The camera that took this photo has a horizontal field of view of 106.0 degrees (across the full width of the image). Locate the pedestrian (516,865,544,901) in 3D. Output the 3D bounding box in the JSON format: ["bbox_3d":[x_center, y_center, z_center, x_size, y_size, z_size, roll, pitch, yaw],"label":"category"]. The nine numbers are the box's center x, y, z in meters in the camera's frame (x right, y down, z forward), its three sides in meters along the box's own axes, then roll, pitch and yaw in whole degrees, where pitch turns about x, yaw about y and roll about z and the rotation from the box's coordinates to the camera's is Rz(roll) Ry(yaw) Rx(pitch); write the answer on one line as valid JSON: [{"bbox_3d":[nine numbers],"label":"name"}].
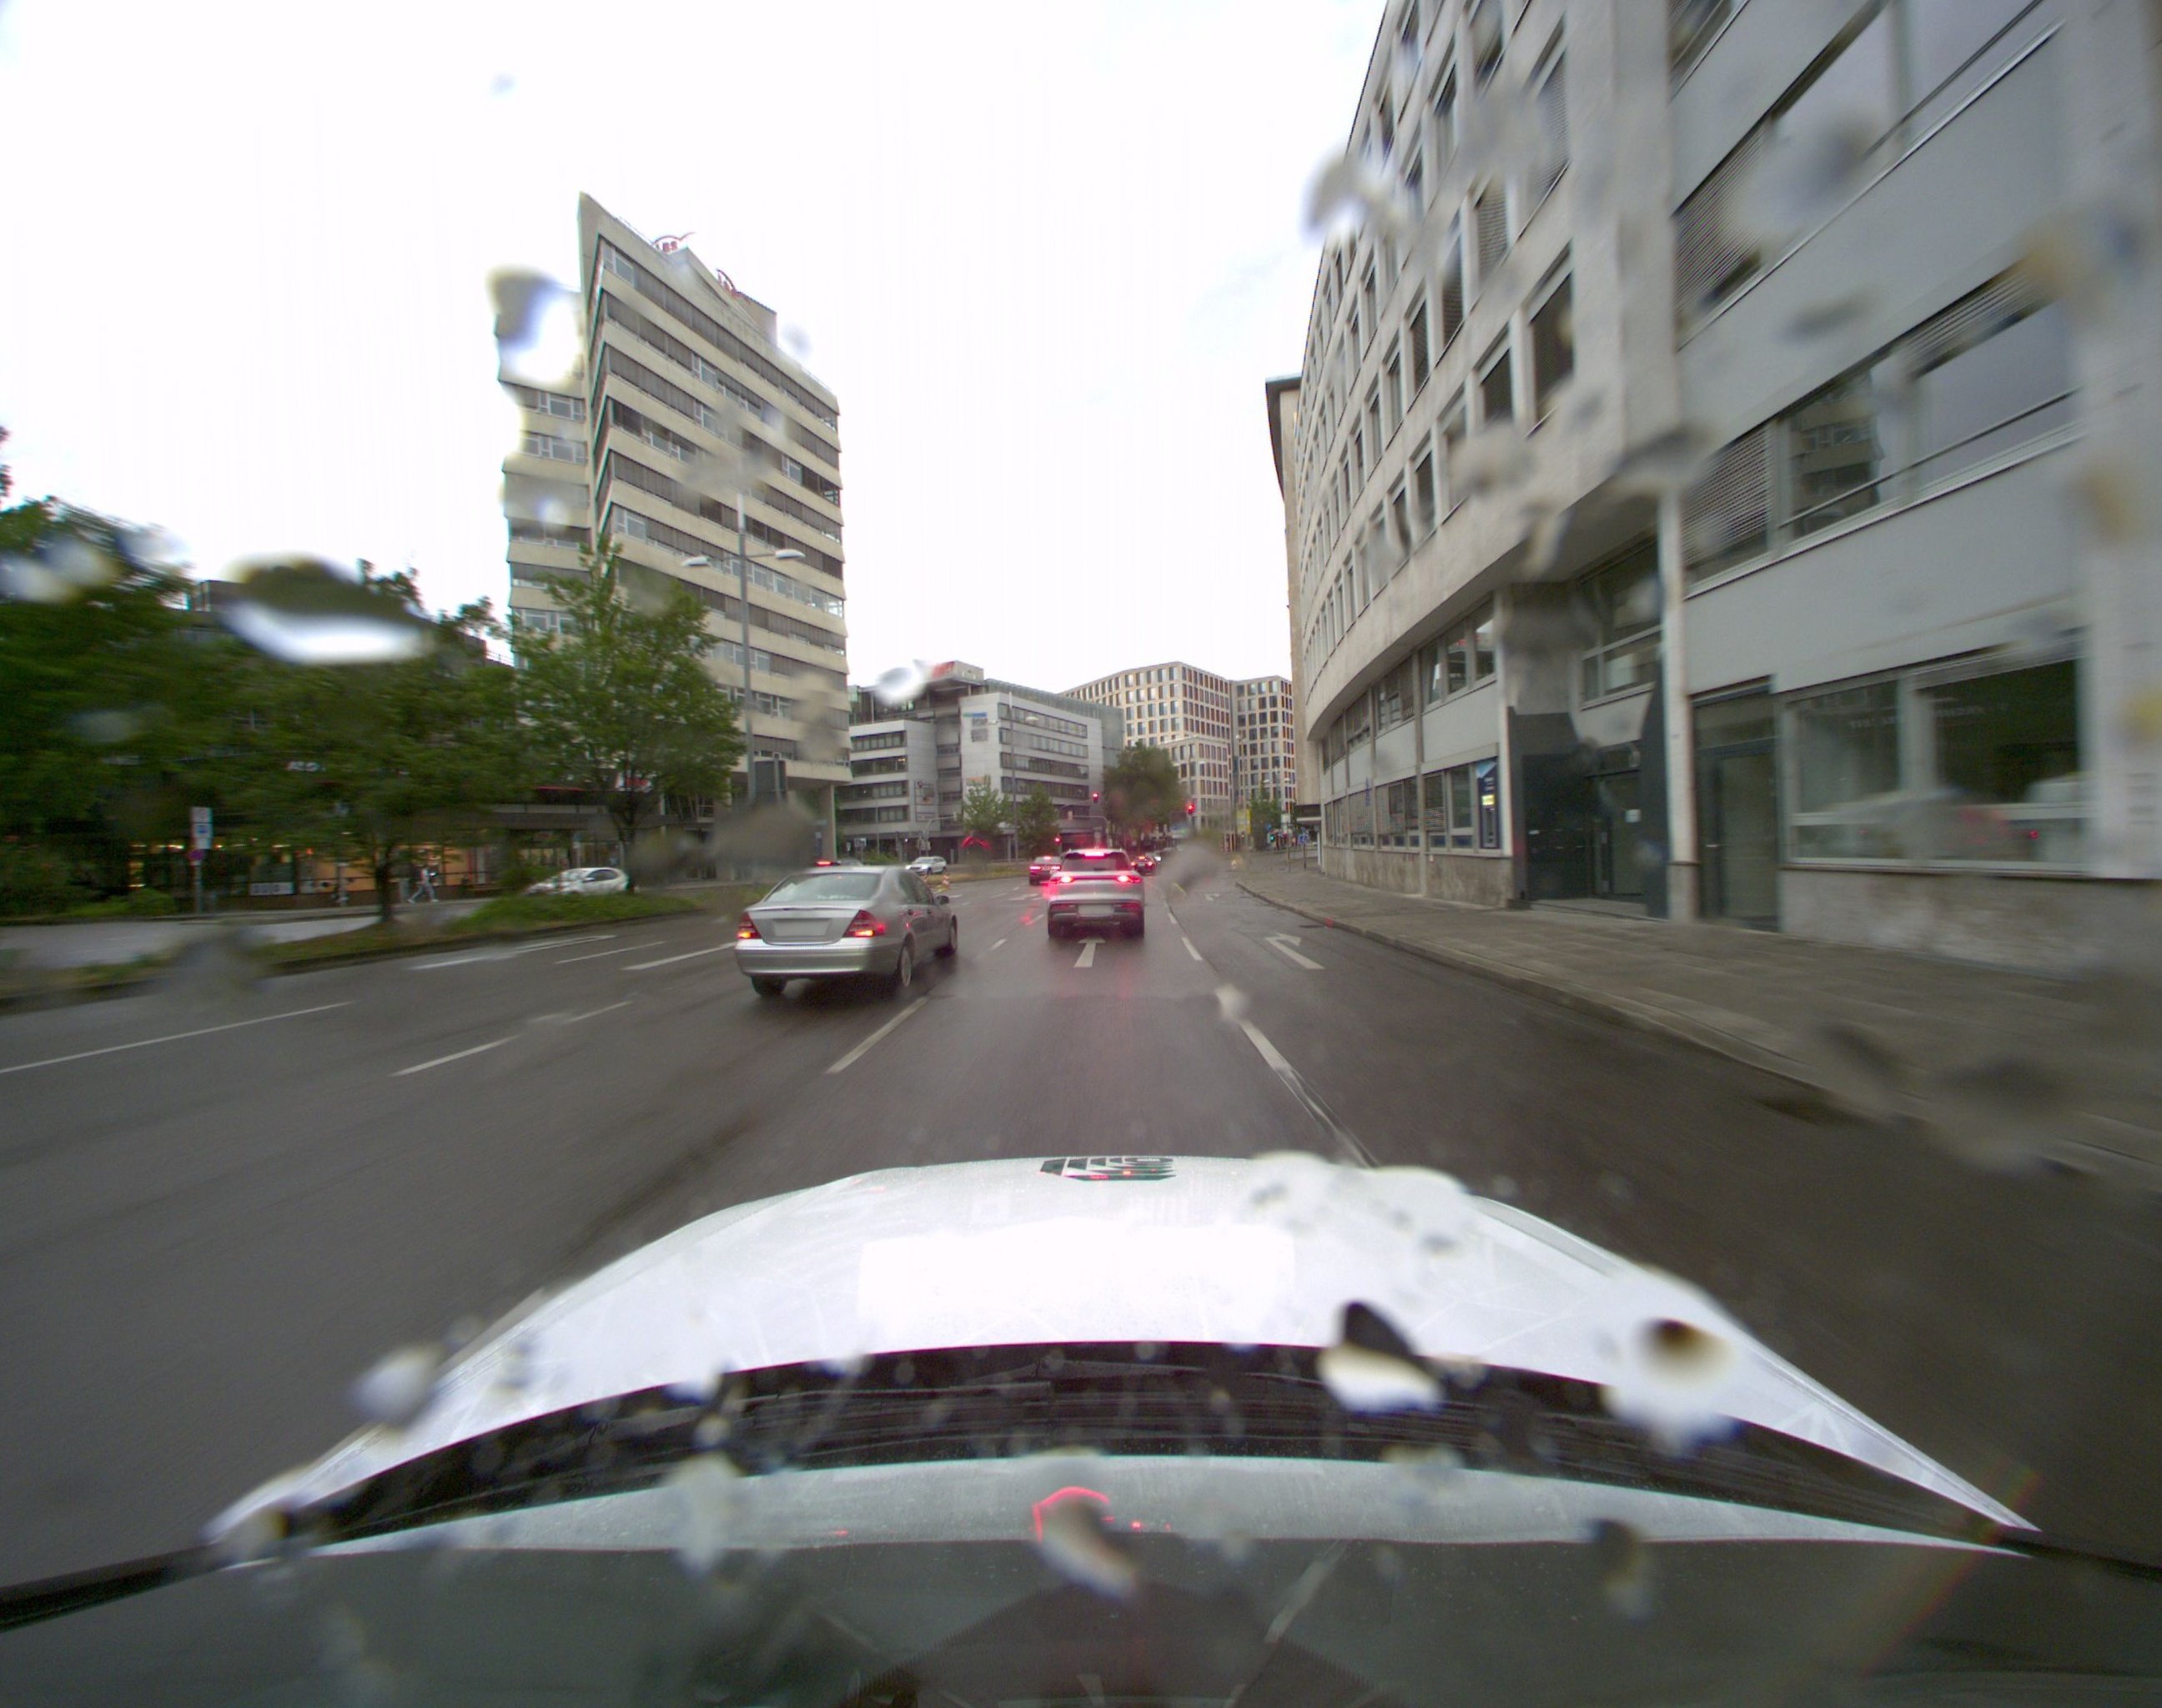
[{"bbox_3d":[-28.284,1.489,41.843,0.721,1.832,0.929,-2,-1,20],"label":"pedestrian"}]

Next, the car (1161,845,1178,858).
[{"bbox_3d":[14.977,-0.455,137.531,1.722,2.161,4.518,0,0,23],"label":"car"}]

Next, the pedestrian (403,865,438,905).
[{"bbox_3d":[-30.806,1.446,37.988,0.810,1.832,0.929,-2,0,21],"label":"pedestrian"}]

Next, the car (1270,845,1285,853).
[{"bbox_3d":[44.356,-1.115,183.342,1.974,1.705,4.337,-1,2,32],"label":"car"}]

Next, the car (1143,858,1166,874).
[{"bbox_3d":[8.572,1.337,95.545,1.990,1.750,4.524,-1,0,-4],"label":"car"}]

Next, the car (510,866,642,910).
[{"bbox_3d":[-18.157,1.184,29.523,1.671,1.431,4.097,-1,0,12],"label":"car"}]

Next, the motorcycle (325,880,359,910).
[{"bbox_3d":[-34.288,1.866,37.766,2.784,1.333,0.728,-1,-1,38],"label":"motorcycle"}]

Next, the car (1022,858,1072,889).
[{"bbox_3d":[-1.760,0.978,43.219,1.944,1.530,4.009,-1,0,8],"label":"car"}]

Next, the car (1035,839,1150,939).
[{"bbox_3d":[0.265,0.627,16.583,1.986,1.709,4.484,-1,0,1],"label":"car"}]

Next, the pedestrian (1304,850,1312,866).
[{"bbox_3d":[23.324,0.404,83.592,0.721,1.669,0.694,-2,-1,20],"label":"pedestrian"}]

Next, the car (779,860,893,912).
[{"bbox_3d":[-8.136,1.019,27.500,1.983,1.544,4.491,-1,0,7],"label":"car"}]

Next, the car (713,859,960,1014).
[{"bbox_3d":[-2.745,0.830,10.186,1.676,1.486,4.198,-1,0,2],"label":"car"}]

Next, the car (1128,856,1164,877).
[{"bbox_3d":[5.081,0.923,63.128,1.940,1.530,4.017,-1,0,16],"label":"car"}]

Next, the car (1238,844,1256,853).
[{"bbox_3d":[33.721,-1.046,165.317,1.974,1.705,4.337,-1,2,32],"label":"car"}]

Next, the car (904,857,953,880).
[{"bbox_3d":[-12.147,1.136,65.050,1.722,1.728,4.516,0,0,21],"label":"car"}]

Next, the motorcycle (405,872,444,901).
[{"bbox_3d":[-32.352,1.601,40.098,2.855,1.374,0.809,-1,-1,37],"label":"motorcycle"}]

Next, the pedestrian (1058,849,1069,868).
[{"bbox_3d":[-1.607,0.456,75.764,0.919,1.738,0.729,-1,0,0],"label":"pedestrian"}]
